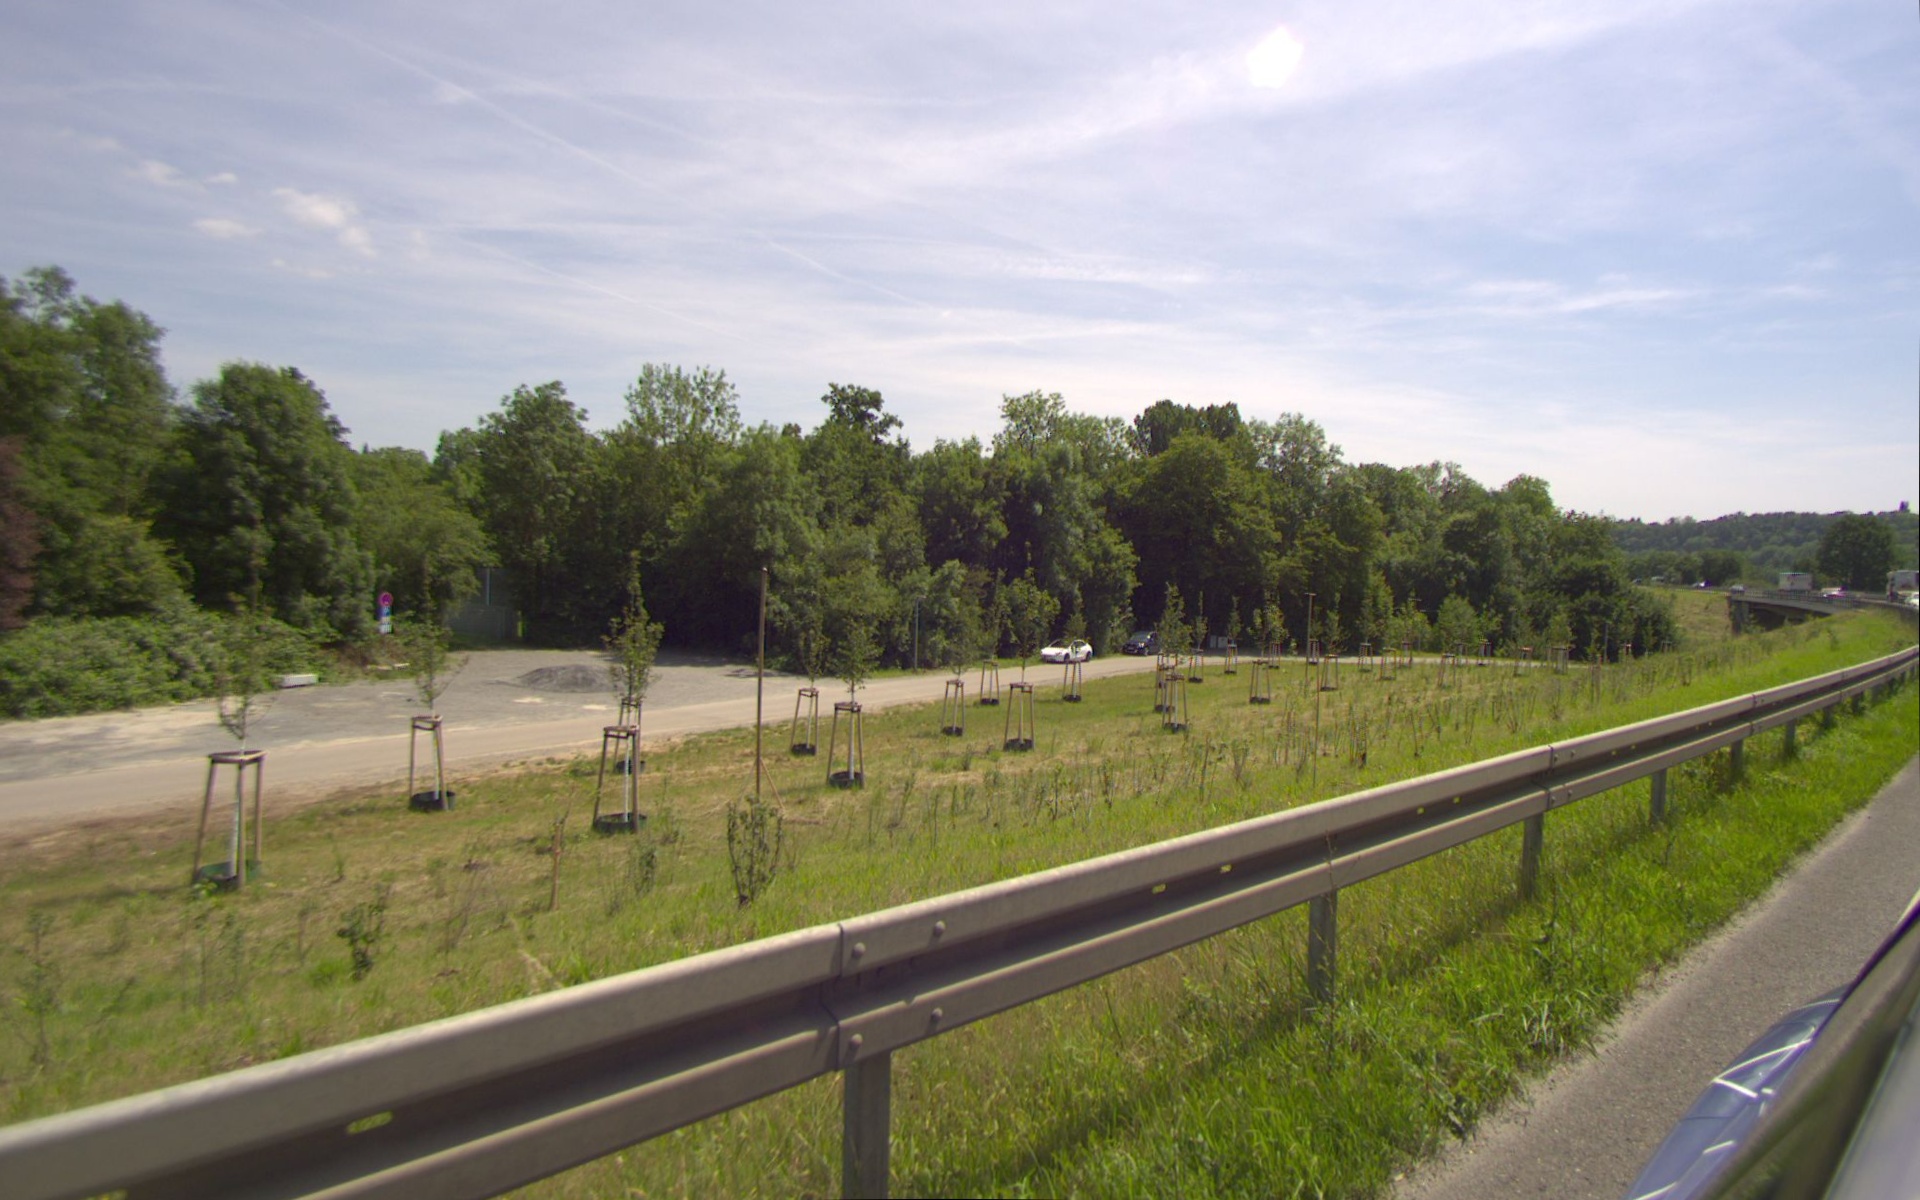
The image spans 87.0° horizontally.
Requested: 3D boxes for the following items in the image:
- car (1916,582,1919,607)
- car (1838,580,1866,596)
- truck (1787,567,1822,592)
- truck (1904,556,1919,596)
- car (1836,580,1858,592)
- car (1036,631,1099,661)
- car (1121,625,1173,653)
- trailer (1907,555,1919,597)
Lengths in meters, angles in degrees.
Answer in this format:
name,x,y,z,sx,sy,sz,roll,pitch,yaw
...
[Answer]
name,x,y,z,sx,sy,sz,roll,pitch,yaw
car,72.140,-0.436,74.730,1.972,1.811,3.943,1,2,40
car,103.722,-1.357,117.696,1.969,1.754,3.950,1,2,35
truck,130.684,-3.162,156.774,2.903,3.851,9.595,1,1,33
truck,98.618,-2.433,102.932,3.111,4.007,6.534,1,2,37
car,120.036,-1.862,136.961,1.752,1.530,3.950,1,2,35
car,6.842,2.888,63.906,1.854,1.500,4.548,6,4,36
car,13.496,2.753,72.847,1.855,1.702,4.140,6,3,39
trailer,94.747,-2.313,97.748,3.111,4.029,15.153,1,2,37
